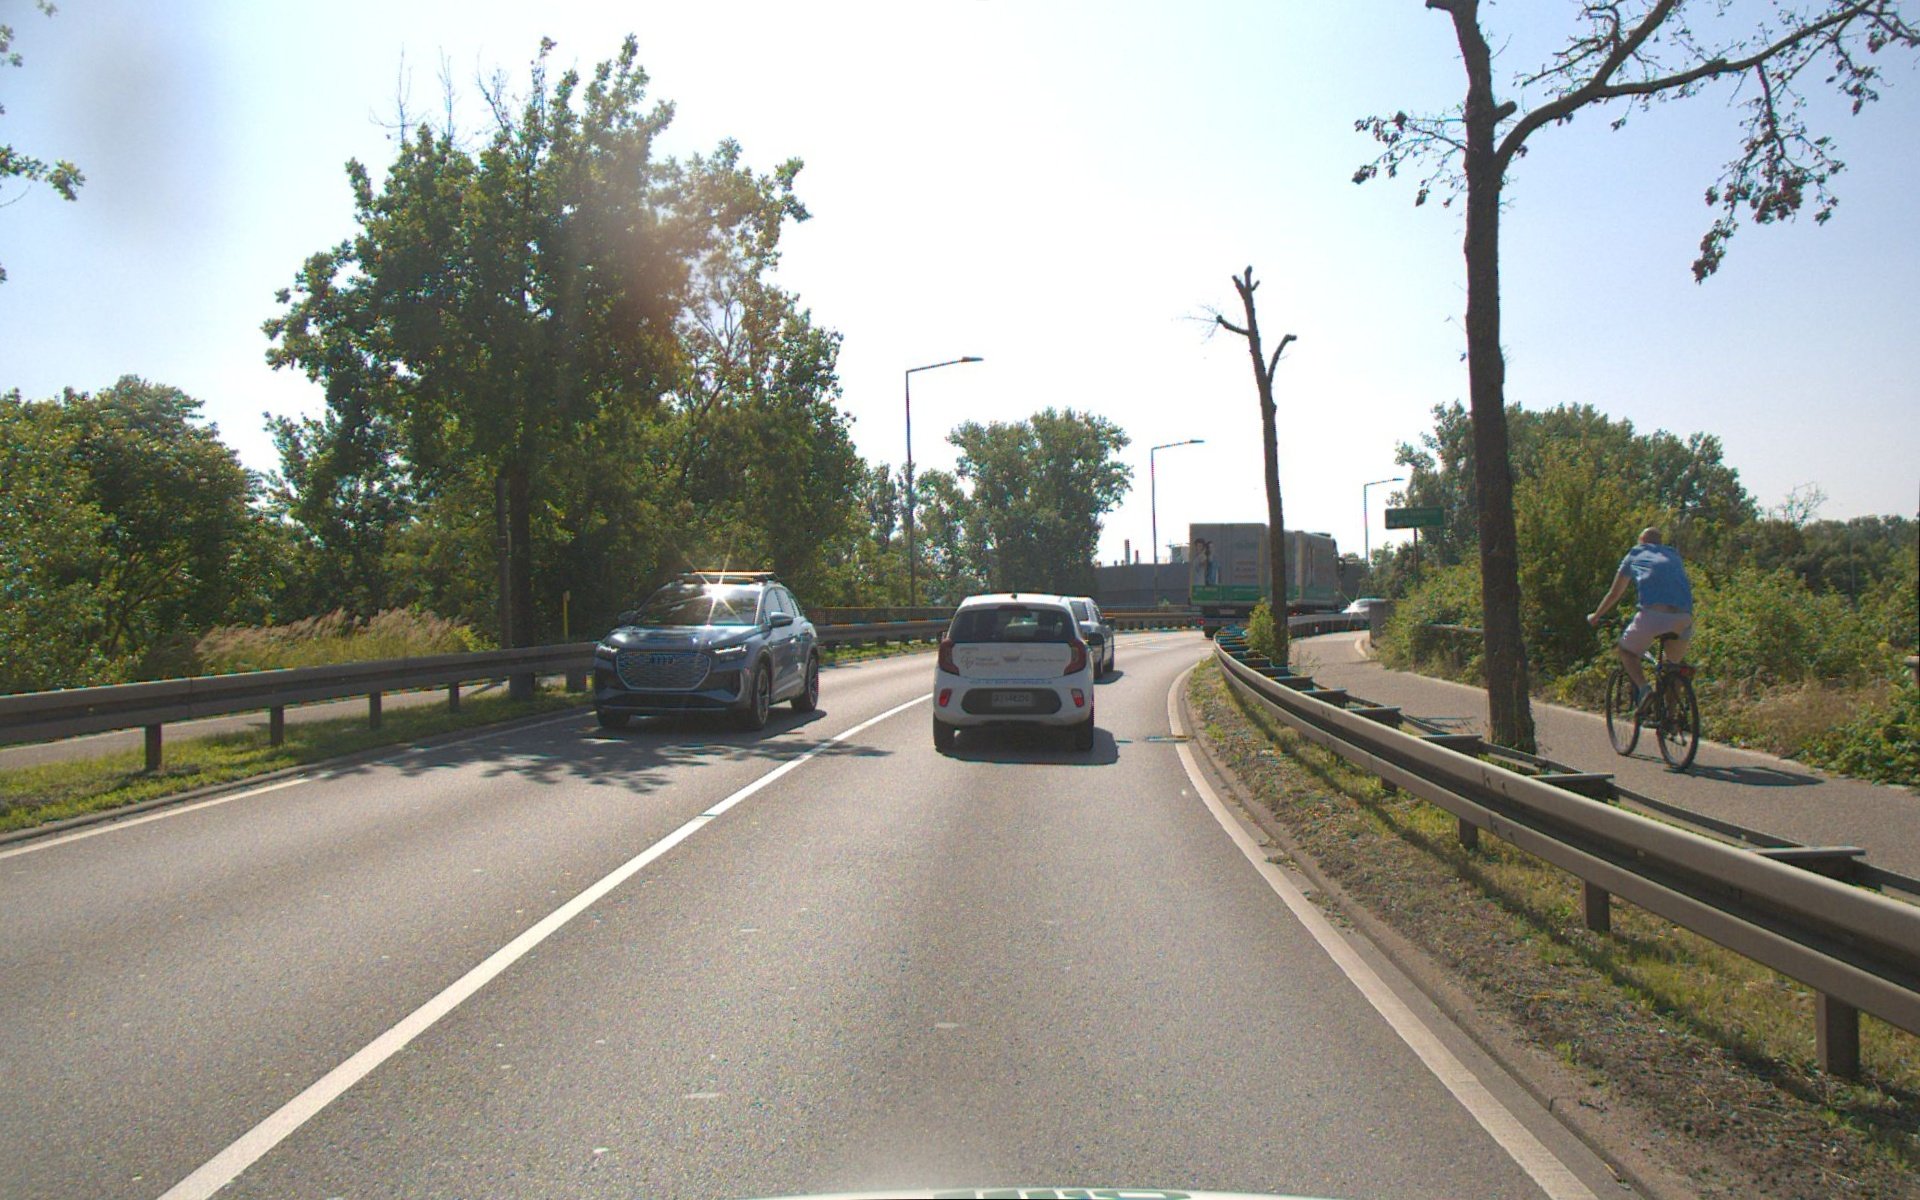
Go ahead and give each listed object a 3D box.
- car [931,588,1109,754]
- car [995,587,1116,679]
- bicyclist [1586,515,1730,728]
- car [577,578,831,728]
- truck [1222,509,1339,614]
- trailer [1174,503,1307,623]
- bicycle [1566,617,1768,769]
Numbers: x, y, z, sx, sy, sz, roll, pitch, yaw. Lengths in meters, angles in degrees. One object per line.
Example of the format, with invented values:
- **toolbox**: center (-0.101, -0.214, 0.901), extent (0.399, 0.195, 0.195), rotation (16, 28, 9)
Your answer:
- **car**: center (0.646, 0.653, 17.634), extent (1.666, 1.520, 4.001), rotation (1, 1, 2)
- **car**: center (1.821, 0.529, 30.041), extent (1.898, 1.512, 4.904), rotation (0, 0, 7)
- **bicyclist**: center (5.365, 0.170, 12.756), extent (0.645, 1.546, 0.803), rotation (-4, -2, -1)
- **car**: center (-2.841, 0.542, 19.306), extent (1.889, 1.560, 4.121), rotation (0, 0, 7)
- **truck**: center (12.652, -1.565, 64.748), extent (3.193, 3.823, 8.373), rotation (1, 2, 20)
- **trailer**: center (9.842, -1.333, 57.267), extent (3.157, 3.823, 7.827), rotation (1, 2, 20)
- **bicycle**: center (5.407, 0.683, 12.787), extent (0.688, 1.037, 1.845), rotation (-4, -1, -1)
